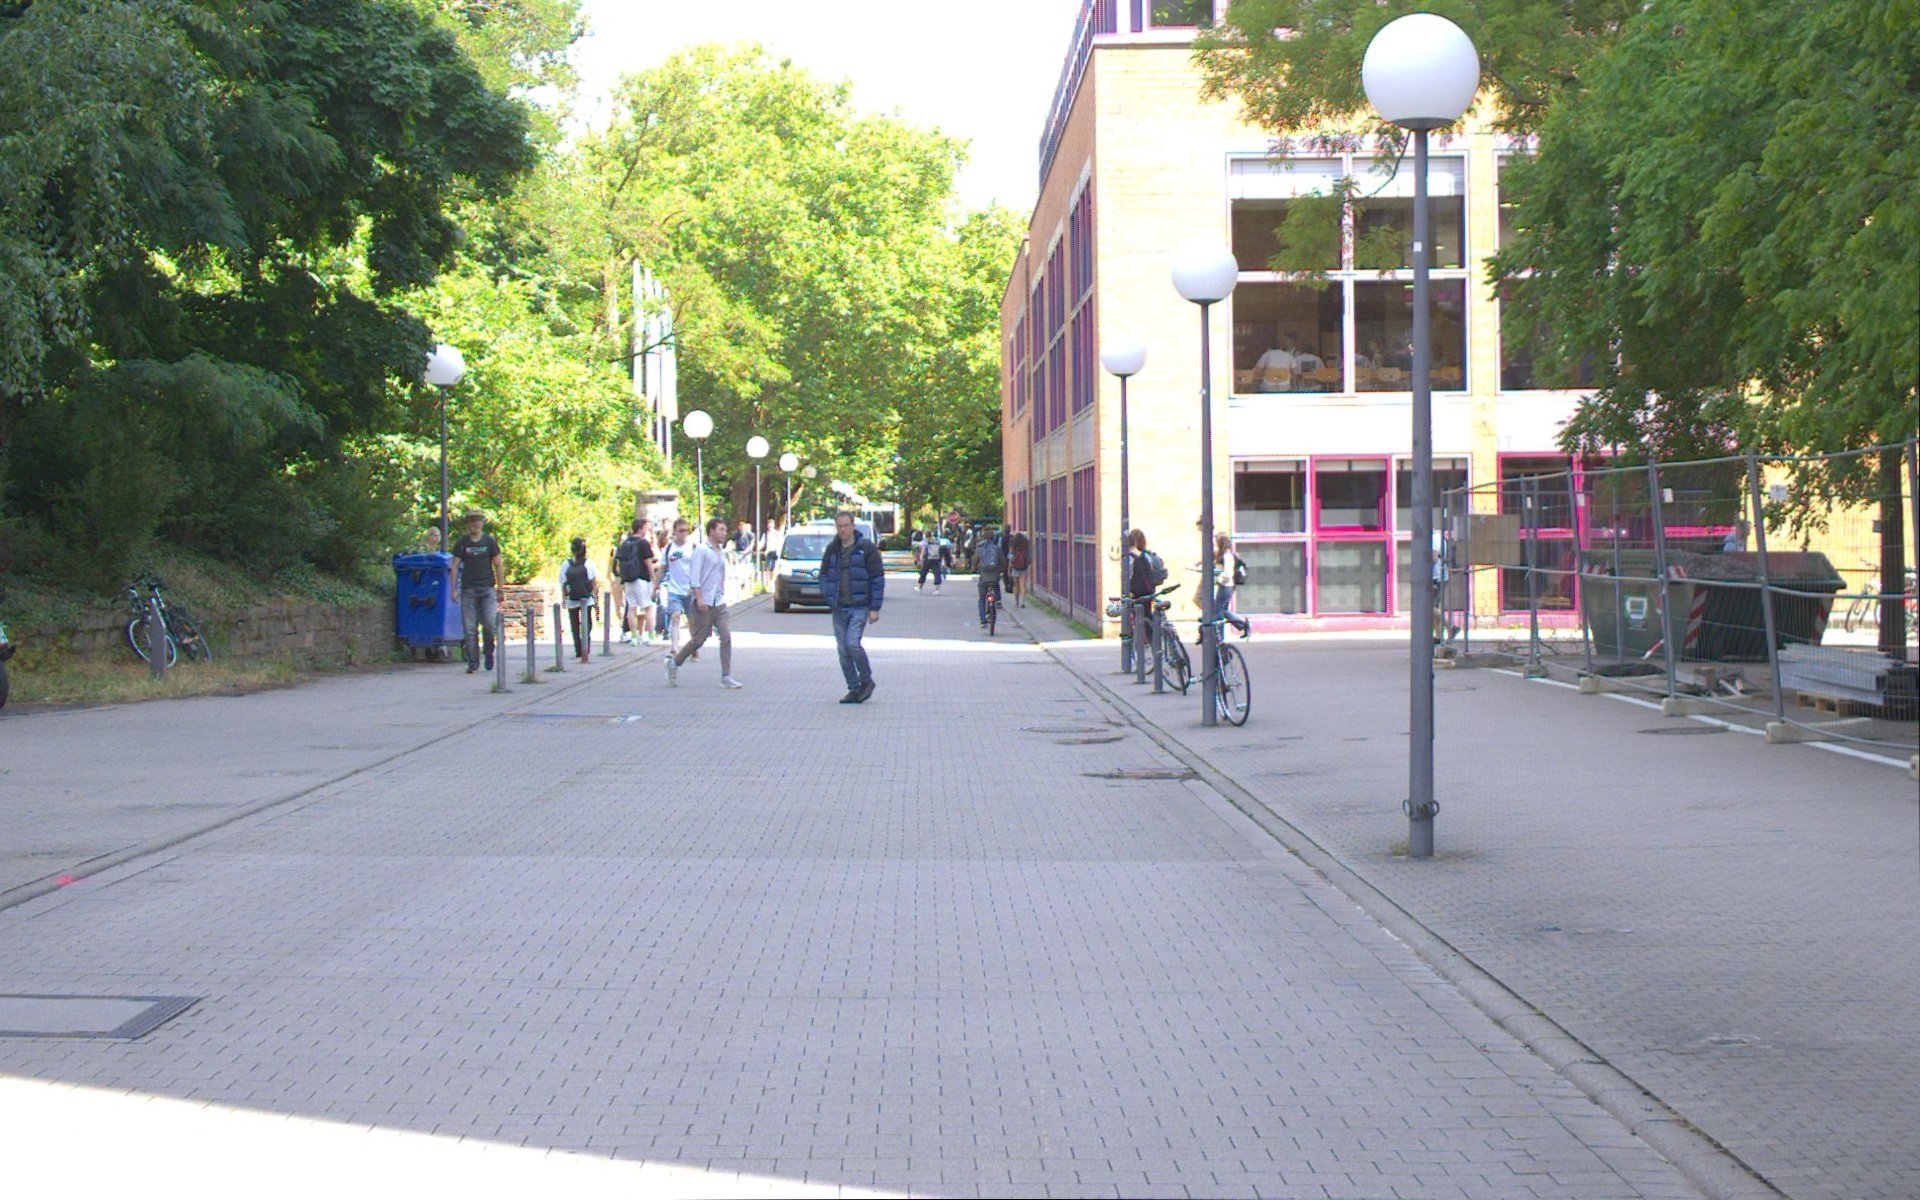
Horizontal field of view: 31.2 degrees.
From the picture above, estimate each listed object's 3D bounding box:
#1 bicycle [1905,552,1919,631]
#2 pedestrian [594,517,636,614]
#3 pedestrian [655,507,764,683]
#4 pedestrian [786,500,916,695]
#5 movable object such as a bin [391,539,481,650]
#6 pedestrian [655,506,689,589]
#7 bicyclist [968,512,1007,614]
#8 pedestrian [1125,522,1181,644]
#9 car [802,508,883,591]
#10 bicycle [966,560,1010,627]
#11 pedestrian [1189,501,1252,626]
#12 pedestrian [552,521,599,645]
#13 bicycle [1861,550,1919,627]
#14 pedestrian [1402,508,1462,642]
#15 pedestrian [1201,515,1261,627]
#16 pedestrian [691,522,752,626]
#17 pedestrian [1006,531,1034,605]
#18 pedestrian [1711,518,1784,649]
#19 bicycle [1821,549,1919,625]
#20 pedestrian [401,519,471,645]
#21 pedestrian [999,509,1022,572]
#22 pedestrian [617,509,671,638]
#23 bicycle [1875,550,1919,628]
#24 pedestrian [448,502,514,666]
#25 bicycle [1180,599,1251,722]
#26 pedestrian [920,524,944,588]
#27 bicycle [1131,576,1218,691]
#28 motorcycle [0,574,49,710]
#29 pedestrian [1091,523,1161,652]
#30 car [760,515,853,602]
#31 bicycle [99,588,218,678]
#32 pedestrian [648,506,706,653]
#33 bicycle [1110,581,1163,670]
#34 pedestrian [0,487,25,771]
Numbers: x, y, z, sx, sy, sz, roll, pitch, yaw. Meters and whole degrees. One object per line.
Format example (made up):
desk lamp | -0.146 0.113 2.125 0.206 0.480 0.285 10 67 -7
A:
bicycle | 14.213 -0.106 48.094 1.809 1.106 0.524 1 1 -1
pedestrian | -5.854 -0.583 58.410 0.682 1.615 0.979 1 0 -5
pedestrian | -2.682 -0.061 36.724 0.783 1.839 1.118 1 1 -25
pedestrian | -1.052 -0.034 33.342 0.886 1.851 1.031 1 1 23
movable object such as a bin | -6.528 -0.077 42.891 0.709 1.332 1.239 3 1 9
pedestrian | -6.486 -1.178 77.420 0.682 1.838 0.783 1 0 0
bicyclist | 0.459 -0.623 57.607 0.587 1.710 0.665 0 1 -4
pedestrian | 2.690 -0.239 47.902 0.697 1.667 0.588 -1 0 7
car | -2.875 -1.270 84.802 1.883 1.967 5.215 0 1 -1
bicycle | 0.460 -0.115 57.606 0.587 1.080 1.908 0 1 -4
pedestrian | 3.869 -0.547 51.078 0.825 1.838 0.685 1 0 -3
pedestrian | -5.059 -0.228 45.280 0.569 1.605 0.918 1 0 -5
bicycle | 14.072 -0.158 49.918 1.809 1.106 0.524 1 1 -3
pedestrian | 6.402 -0.339 46.656 0.767 1.788 0.588 -1 0 7
pedestrian | 3.961 -0.425 50.324 0.780 1.615 0.685 1 0 -3
pedestrian | -3.633 -0.392 52.323 0.740 1.537 0.889 2 0 -13
pedestrian | 1.349 -0.721 77.538 0.586 1.667 0.699 -1 0 1
pedestrian | 10.550 -0.211 46.071 0.902 1.722 0.684 -1 -1 11
bicycle | 13.955 -0.197 51.788 1.809 1.106 0.524 1 1 -2
pedestrian | -7.243 -0.249 47.468 0.682 1.722 1.002 0 1 -26
pedestrian | 1.343 -1.584 91.877 0.586 1.667 0.817 -1 0 1
pedestrian | -4.538 -0.385 49.415 0.682 1.838 0.783 1 0 0
bicycle | 14.007 -0.145 48.950 1.809 1.106 0.523 1 1 3
pedestrian | -5.537 -0.187 39.800 0.682 1.866 1.121 1 0 -5
bicycle | 2.105 0.485 28.430 0.395 0.932 1.732 -2 1 -1
pedestrian | -0.740 -1.154 90.798 0.586 1.667 0.817 -1 0 1
bicycle | 2.117 0.318 34.131 0.708 1.089 1.749 0 1 -1
motorcycle | -8.115 0.300 27.653 2.024 1.043 0.473 3 2 42
pedestrian | 2.153 -0.165 44.545 0.852 1.645 0.588 1 0 7
car | -3.180 -0.903 72.016 1.790 1.755 4.482 0 1 -1
bicycle | -8.237 0.340 35.378 0.421 0.907 1.739 0 -1 14
pedestrian | -3.673 -0.270 44.616 0.724 1.875 1.083 1 0 -5
bicycle | 2.034 0.283 39.743 0.450 0.958 1.740 -3 1 -1
pedestrian | -6.213 0.171 20.709 0.685 1.718 0.903 1 1 24
